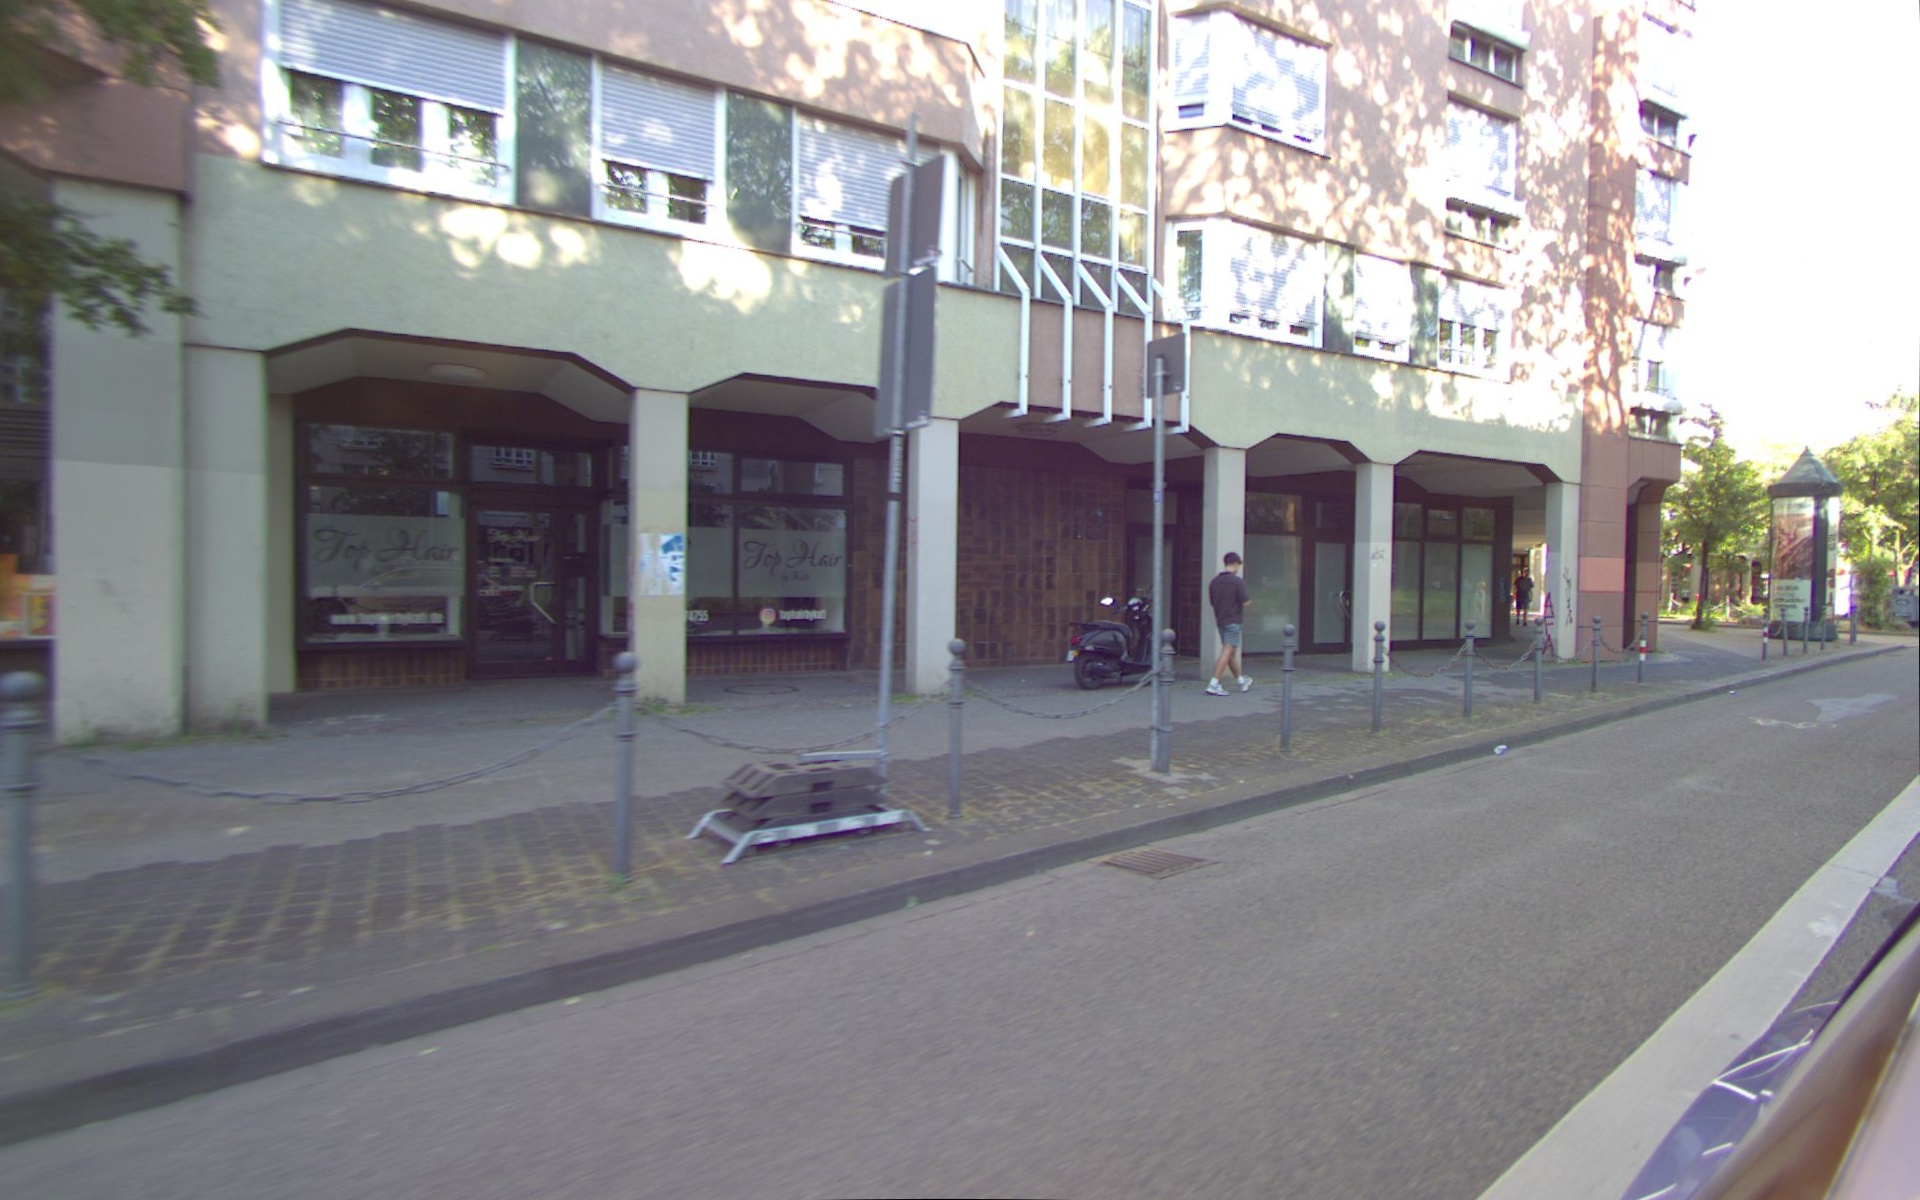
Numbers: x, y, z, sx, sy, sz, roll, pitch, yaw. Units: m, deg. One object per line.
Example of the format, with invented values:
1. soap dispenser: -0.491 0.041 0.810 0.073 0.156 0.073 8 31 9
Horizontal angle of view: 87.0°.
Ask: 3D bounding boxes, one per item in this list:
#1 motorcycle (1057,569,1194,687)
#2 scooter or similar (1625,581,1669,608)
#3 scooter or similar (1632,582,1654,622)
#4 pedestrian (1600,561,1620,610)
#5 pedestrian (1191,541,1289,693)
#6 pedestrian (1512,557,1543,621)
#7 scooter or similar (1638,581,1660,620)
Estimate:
1. motorcycle: 2.122 0.317 12.806 2.053 1.389 0.489 -1 1 -40
2. scooter or similar: 29.603 -0.243 43.622 0.548 1.160 1.460 0 1 -34
3. scooter or similar: 21.985 0.044 32.602 0.481 1.231 1.435 1 1 30
4. pedestrian: 26.897 -0.603 41.880 0.636 2.006 0.768 1 1 30
5. pedestrian: 3.402 0.185 12.308 0.820 1.760 0.784 0 1 -31
6. pedestrian: 17.985 -0.361 32.067 0.812 2.006 0.839 1 1 31
7. scooter or similar: 23.358 -0.010 34.324 0.481 1.290 1.435 1 1 30
